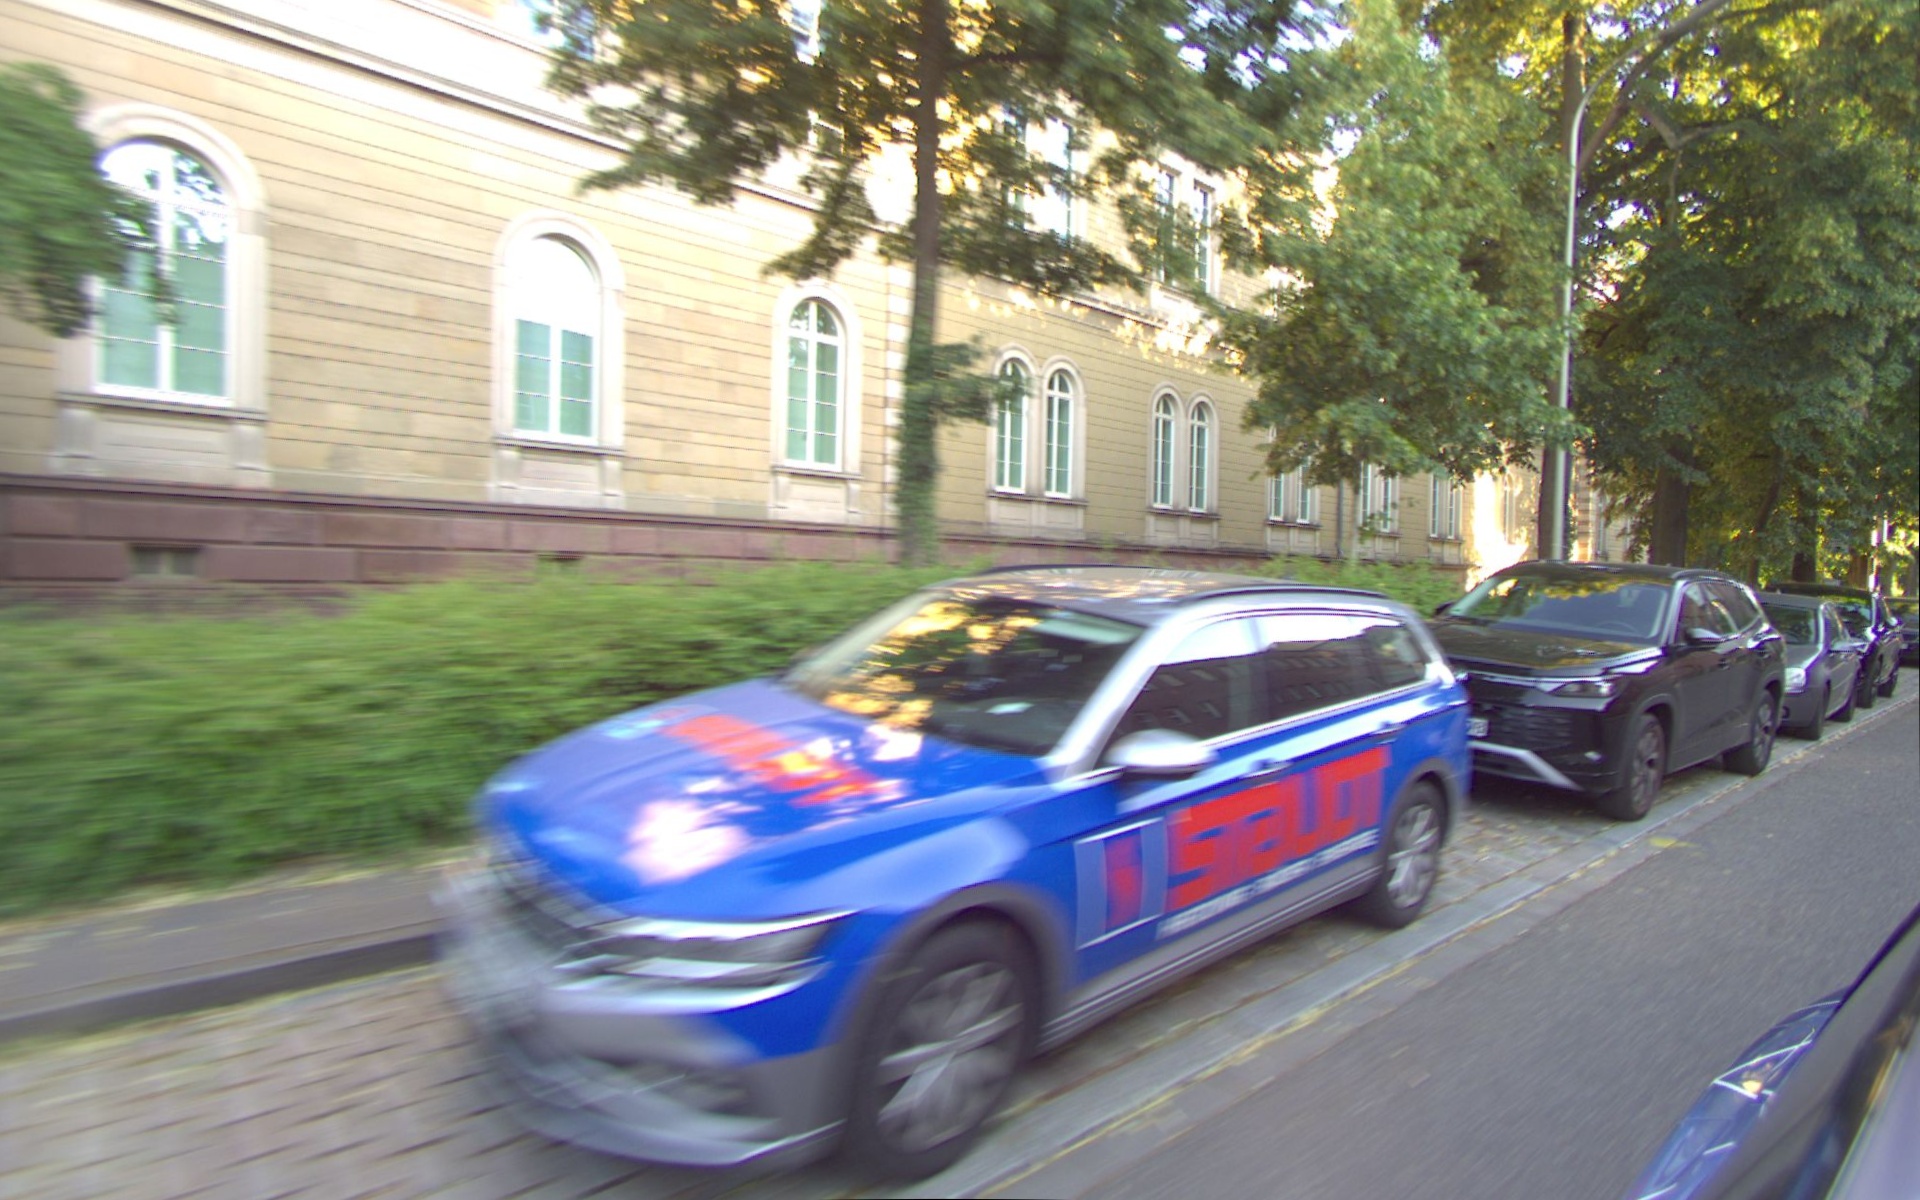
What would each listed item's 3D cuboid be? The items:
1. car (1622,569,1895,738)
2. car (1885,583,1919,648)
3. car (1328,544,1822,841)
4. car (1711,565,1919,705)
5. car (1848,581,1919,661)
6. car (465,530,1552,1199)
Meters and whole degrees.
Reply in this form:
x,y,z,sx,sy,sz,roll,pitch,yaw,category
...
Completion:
x,y,z,sx,sy,sz,roll,pitch,yaw,category
9.212,0.486,11.555,4.117,1.557,1.727,0,2,-42,car
25.559,0.408,26.144,4.114,1.551,1.730,-1,6,-39,car
4.925,0.447,7.806,4.628,1.671,1.729,-1,3,-38,car
13.001,0.439,15.187,4.342,1.670,1.811,0,6,-42,car
21.241,0.436,22.405,4.445,1.524,1.739,-1,6,-42,car
0.661,0.589,4.157,4.533,1.505,1.727,-1,6,-43,car
